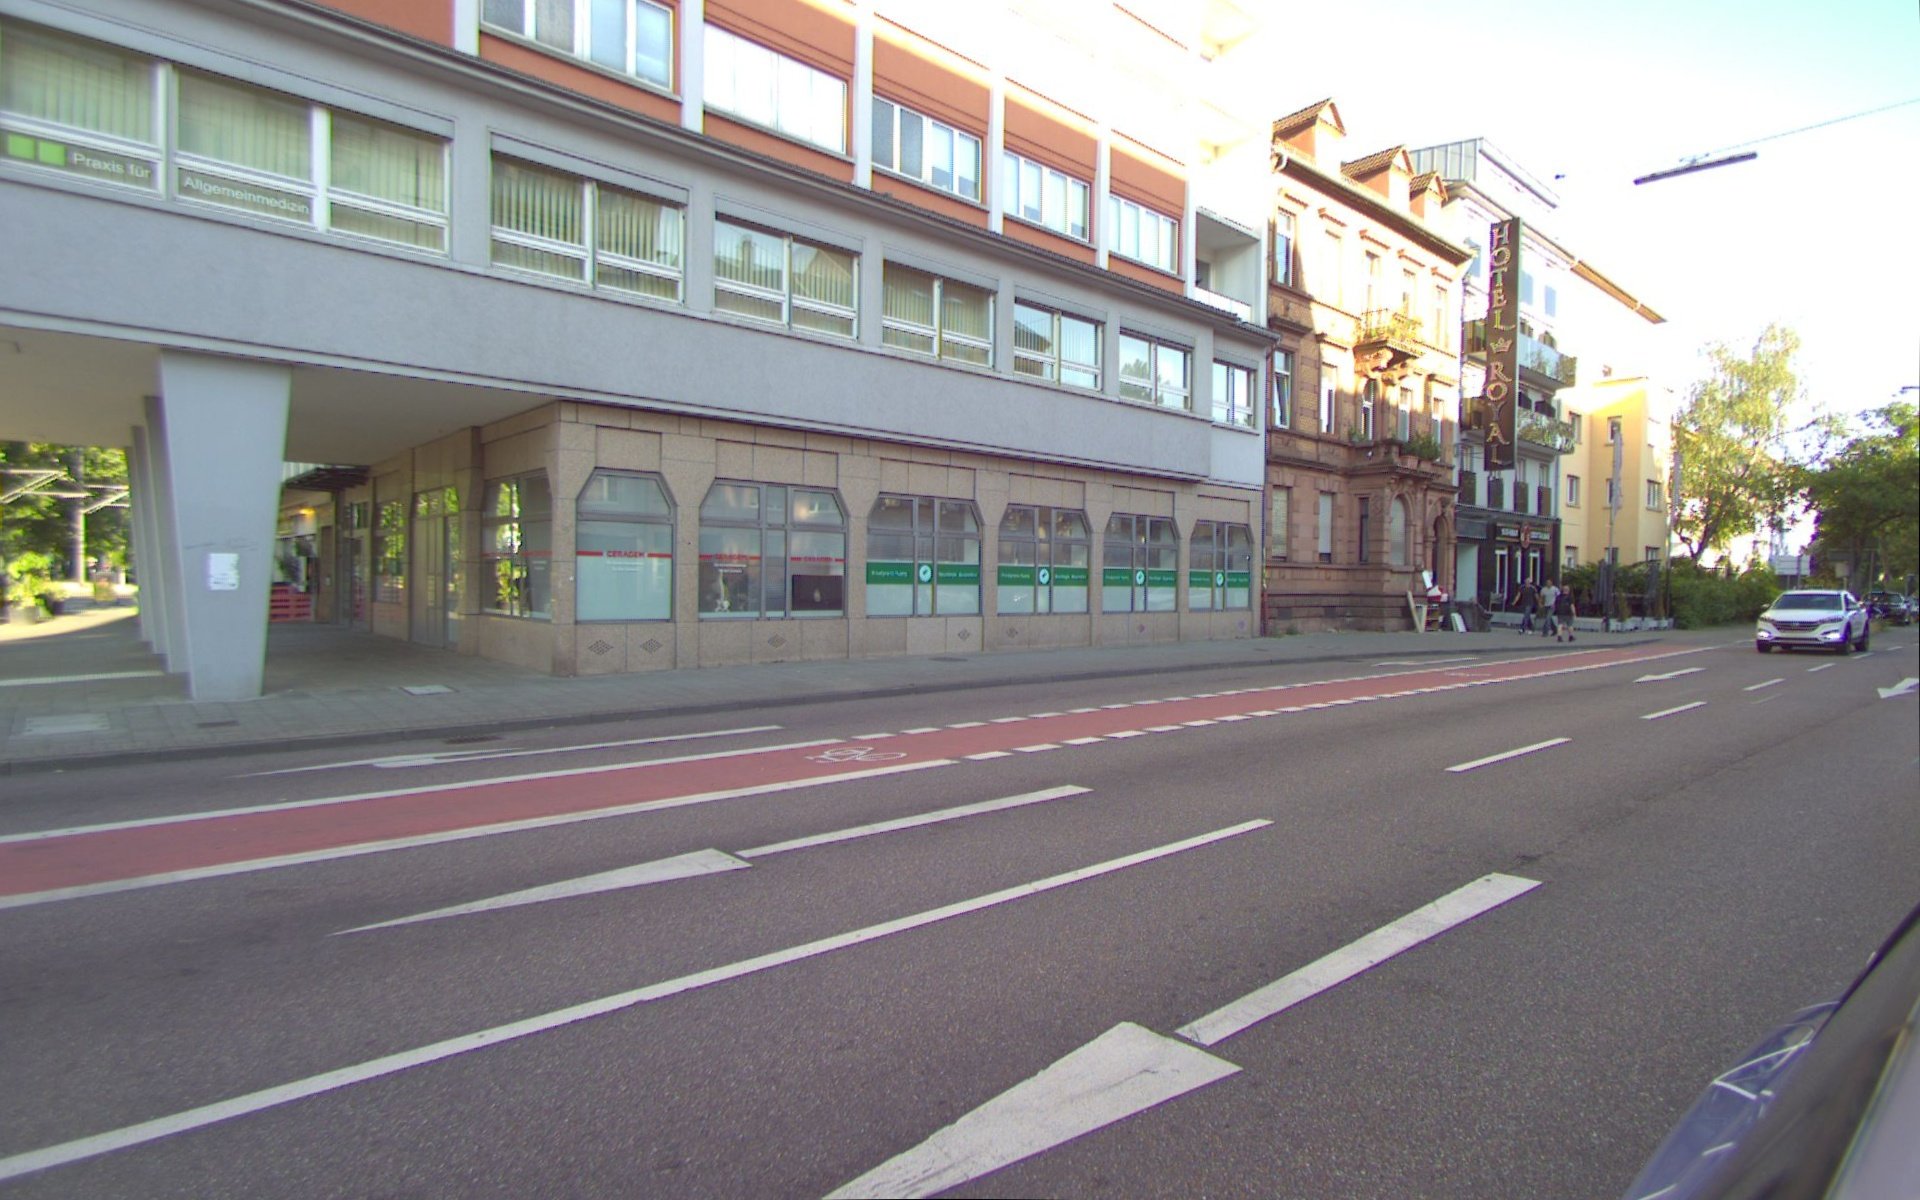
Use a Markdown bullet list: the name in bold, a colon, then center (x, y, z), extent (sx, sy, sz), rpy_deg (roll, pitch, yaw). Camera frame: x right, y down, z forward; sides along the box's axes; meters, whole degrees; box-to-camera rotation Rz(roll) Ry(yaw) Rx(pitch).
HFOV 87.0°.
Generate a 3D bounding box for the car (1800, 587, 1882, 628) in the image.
- **car**: center (35.508, 0.283, 40.761), extent (4.003, 1.536, 1.904), rpy_deg (0, 1, -41)

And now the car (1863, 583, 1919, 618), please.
- **car**: center (47.147, 0.012, 51.036), extent (4.121, 1.645, 1.945), rpy_deg (0, 1, -42)

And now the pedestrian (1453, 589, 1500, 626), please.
- **pedestrian**: center (16.532, 0.218, 32.412), extent (0.909, 1.150, 1.098), rpy_deg (0, 1, -43)

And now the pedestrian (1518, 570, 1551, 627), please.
- **pedestrian**: center (18.140, -0.049, 31.961), extent (0.666, 1.747, 0.995), rpy_deg (2, 1, 43)

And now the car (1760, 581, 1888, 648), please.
- **car**: center (22.980, 0.325, 26.875), extent (4.193, 1.627, 1.920), rpy_deg (-1, 0, -40)

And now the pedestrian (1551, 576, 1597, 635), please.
- **pedestrian**: center (17.742, 0.148, 29.248), extent (0.992, 1.621, 0.739), rpy_deg (0, 4, -37)

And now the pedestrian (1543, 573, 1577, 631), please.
- **pedestrian**: center (18.675, 0.047, 31.483), extent (0.994, 1.747, 0.666), rpy_deg (0, 1, -45)
